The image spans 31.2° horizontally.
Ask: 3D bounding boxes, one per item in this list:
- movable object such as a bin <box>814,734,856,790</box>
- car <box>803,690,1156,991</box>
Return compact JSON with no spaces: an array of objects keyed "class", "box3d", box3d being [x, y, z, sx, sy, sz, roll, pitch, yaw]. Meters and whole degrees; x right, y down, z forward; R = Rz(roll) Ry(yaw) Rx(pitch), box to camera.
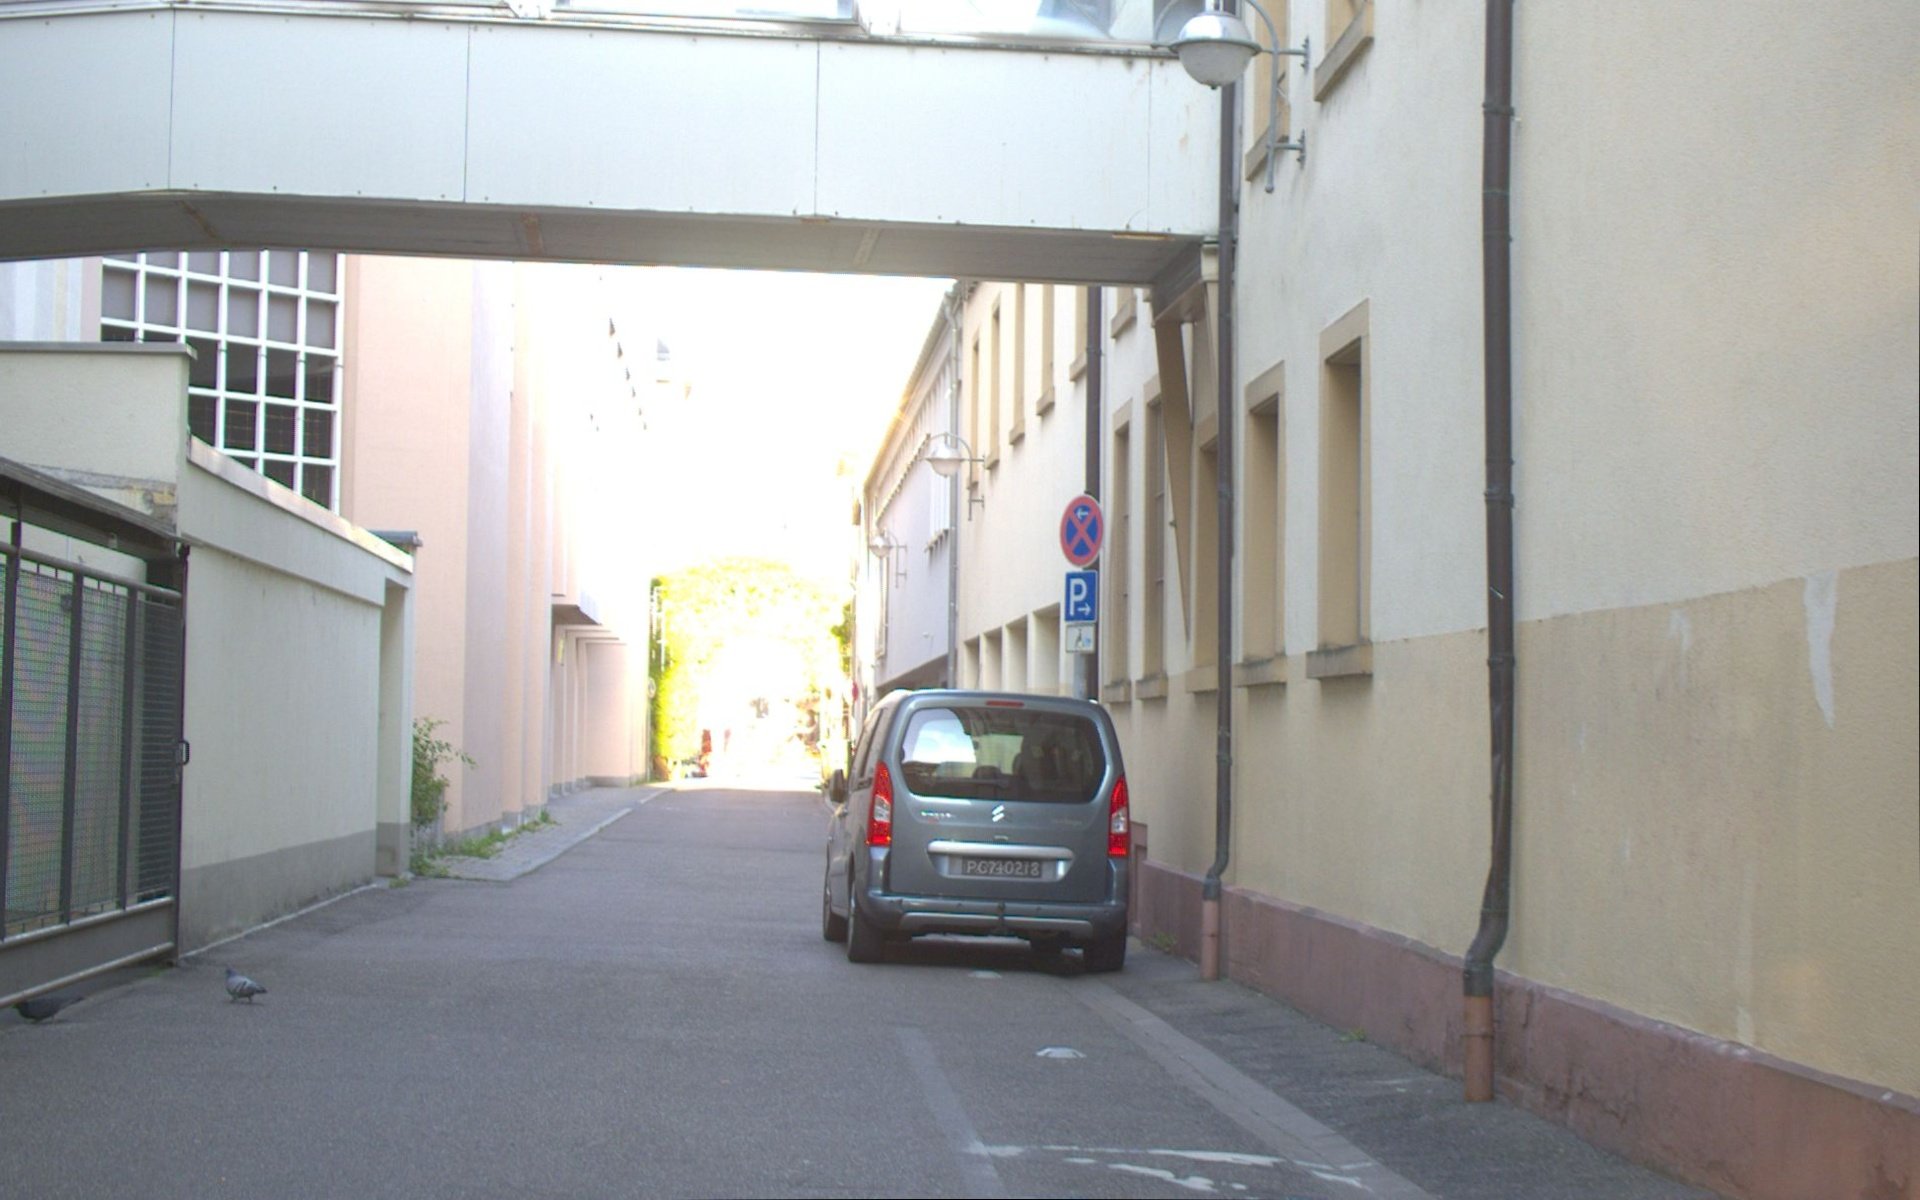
[{"class":"movable object such as a bin","box3d":[-3.478,4.493,95.476,1.107,1.431,1.414,1,1,-3]},{"class":"car","box3d":[0.036,1.587,23.480,1.855,1.750,4.162,4,-3,-6]}]
